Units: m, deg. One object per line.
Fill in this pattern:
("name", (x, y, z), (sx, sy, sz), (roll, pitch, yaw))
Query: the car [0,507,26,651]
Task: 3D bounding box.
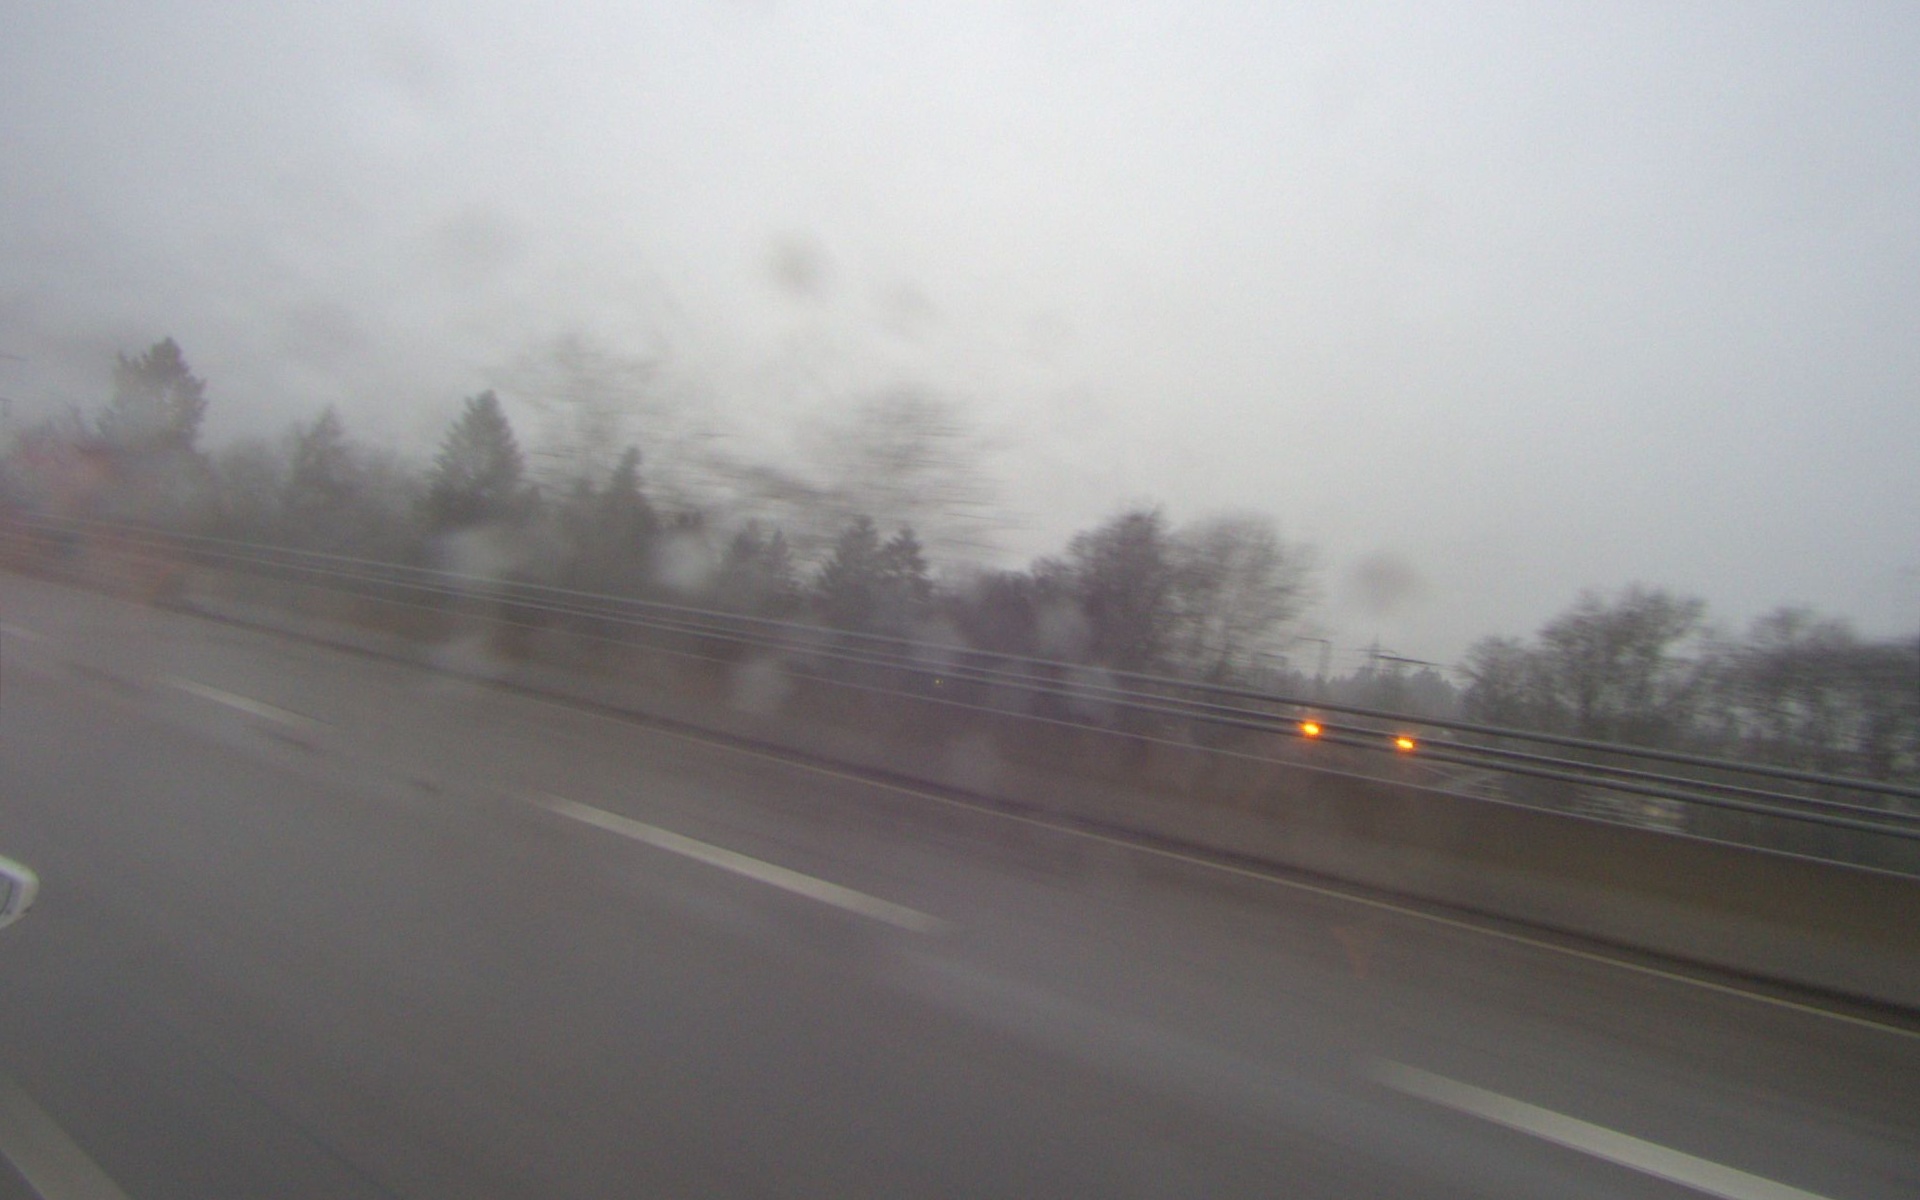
("car", (-12.132, -0.518, 10.898), (4.079, 1.471, 1.849), (8, -1, 32))
